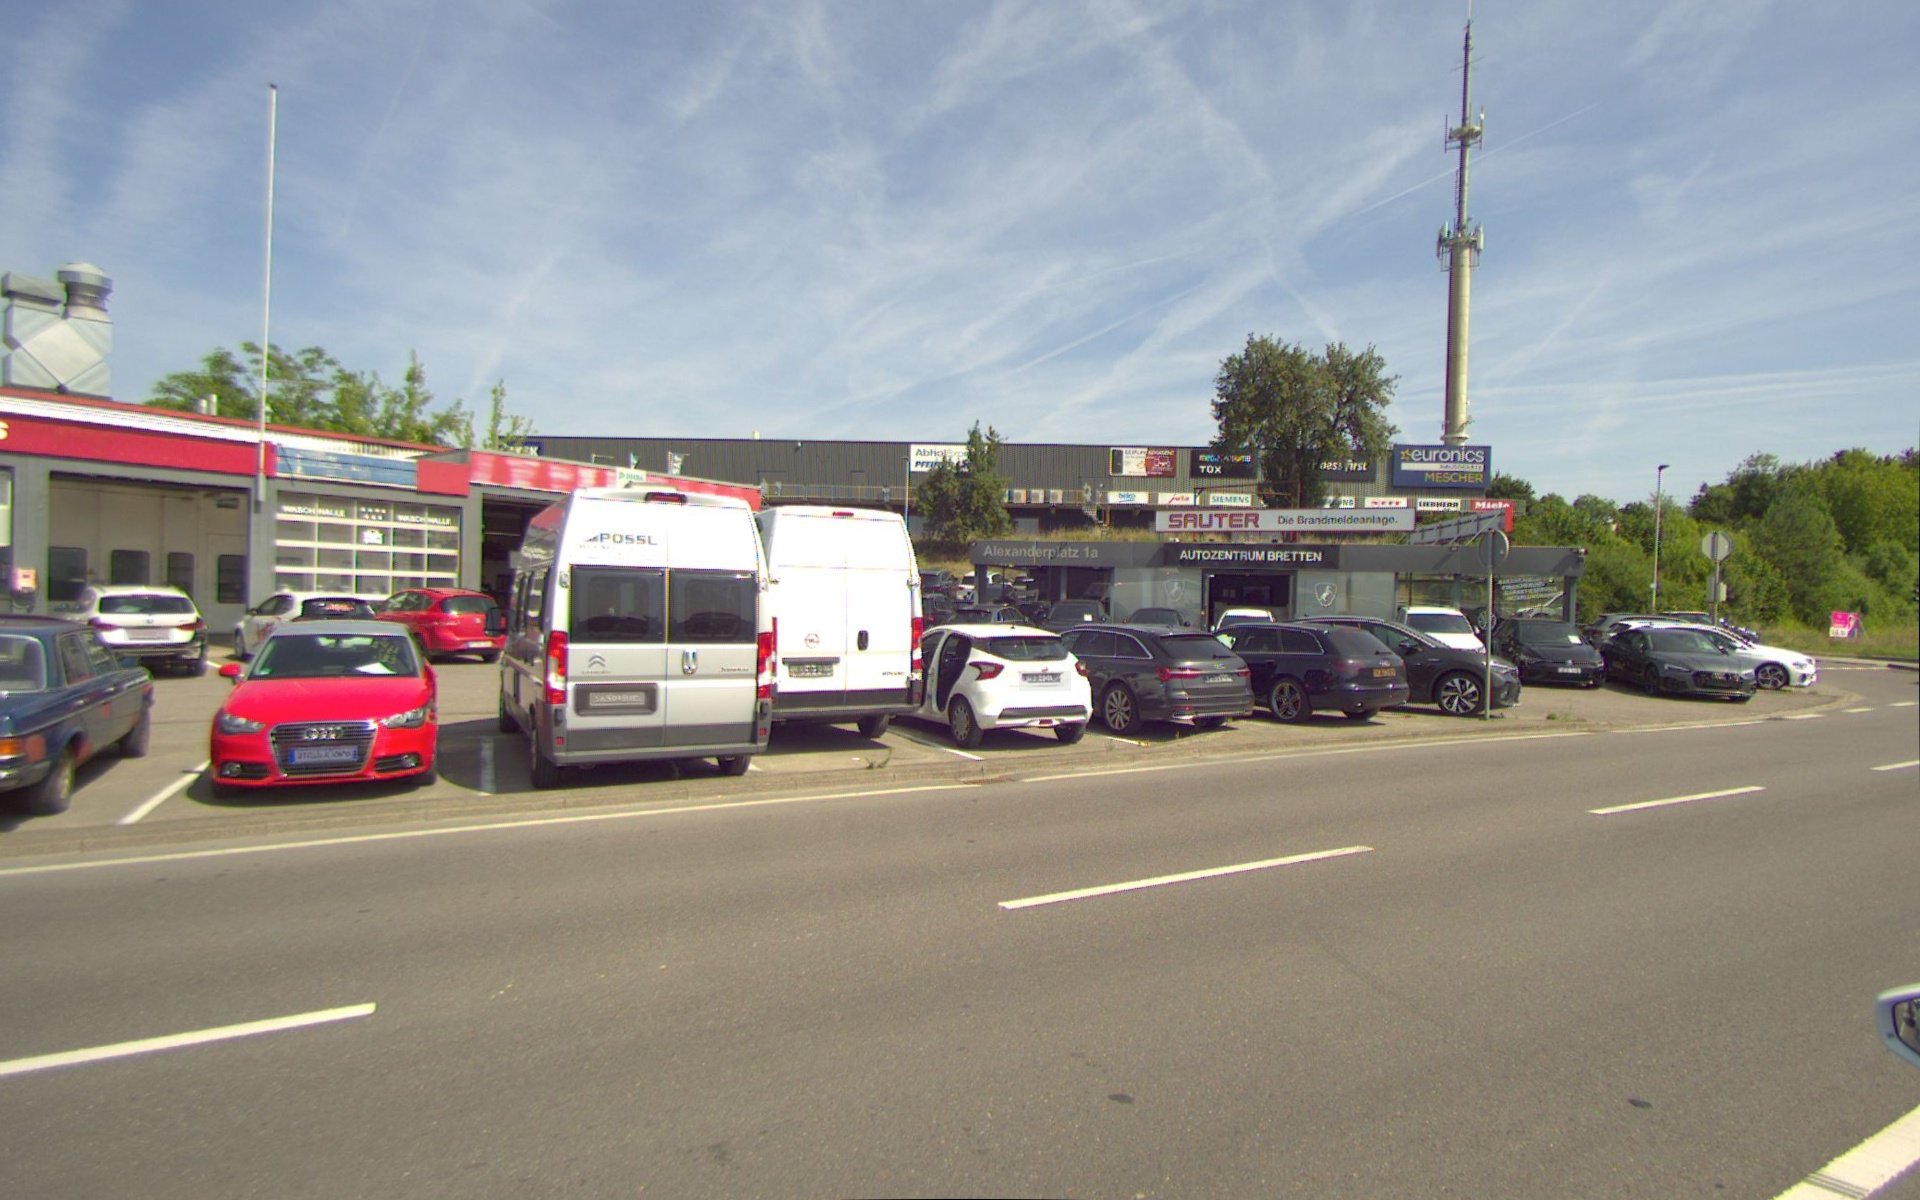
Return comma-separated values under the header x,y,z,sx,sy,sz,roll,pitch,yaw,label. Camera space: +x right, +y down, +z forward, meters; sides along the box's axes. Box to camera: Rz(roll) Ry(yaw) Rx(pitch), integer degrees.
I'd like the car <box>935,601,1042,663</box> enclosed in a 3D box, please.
x,y,z,sx,sy,sz,roll,pitch,yaw,label
0.913,0.853,29.017,1.855,1.544,4.344,2,1,19,car

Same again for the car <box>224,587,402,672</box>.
x,y,z,sx,sy,sz,roll,pitch,yaw,label
-13.219,0.544,20.455,3.882,1.540,1.876,1,0,38,car

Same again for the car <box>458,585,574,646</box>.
x,y,z,sx,sy,sz,roll,pitch,yaw,label
-13.333,0.422,30.073,1.856,1.583,4.048,2,1,-44,car

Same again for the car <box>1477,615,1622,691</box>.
x,y,z,sx,sy,sz,roll,pitch,yaw,label
14.155,1.195,24.408,1.762,1.507,4.346,2,1,13,car

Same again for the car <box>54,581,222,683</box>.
x,y,z,sx,sy,sz,roll,pitch,yaw,label
-14.921,0.513,18.163,1.976,1.628,3.946,1,0,-45,car

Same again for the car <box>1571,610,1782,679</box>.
x,y,z,sx,sy,sz,roll,pitch,yaw,label
21.308,1.282,30.133,4.702,1.647,1.932,4,1,19,car

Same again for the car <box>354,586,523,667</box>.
x,y,z,sx,sy,sz,roll,pitch,yaw,label
-11.714,0.544,22.483,3.937,1.639,1.910,1,0,38,car

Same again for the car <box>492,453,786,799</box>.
x,y,z,sx,sy,sz,roll,pitch,yaw,label
-3.845,0.250,11.137,2.150,2.809,5.544,1,-1,-28,car

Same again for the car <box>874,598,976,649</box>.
x,y,z,sx,sy,sz,roll,pitch,yaw,label
-0.972,0.693,30.454,1.741,1.429,4.104,1,-1,19,car

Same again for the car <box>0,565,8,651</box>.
x,y,z,sx,sy,sz,roll,pitch,yaw,label
-20.783,0.116,18.683,4.439,1.676,1.851,1,0,-44,car

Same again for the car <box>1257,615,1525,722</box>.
x,y,z,sx,sy,sz,roll,pitch,yaw,label
7.633,1.124,17.866,4.112,1.644,2.025,0,-1,33,car

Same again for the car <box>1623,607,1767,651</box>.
x,y,z,sx,sy,sz,roll,pitch,yaw,label
31.630,1.219,43.357,4.543,1.548,1.916,4,2,16,car

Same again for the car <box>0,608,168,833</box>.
x,y,z,sx,sy,sz,roll,pitch,yaw,label
-8.163,0.821,8.258,1.850,1.487,4.230,1,-1,-28,car

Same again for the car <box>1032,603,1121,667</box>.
x,y,z,sx,sy,sz,roll,pitch,yaw,label
3.345,0.918,28.258,1.774,1.544,4.099,2,1,16,car

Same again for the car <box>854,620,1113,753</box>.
x,y,z,sx,sy,sz,roll,pitch,yaw,label
0.154,1.050,13.775,1.858,1.489,3.971,1,-1,-28,car

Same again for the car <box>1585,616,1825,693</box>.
x,y,z,sx,sy,sz,roll,pitch,yaw,label
18.970,1.326,25.891,4.629,1.495,1.890,4,2,27,car

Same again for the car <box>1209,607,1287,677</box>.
x,y,z,sx,sy,sz,roll,pitch,yaw,label
7.532,1.023,26.264,1.791,1.544,4.144,2,1,16,car

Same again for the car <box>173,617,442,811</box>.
x,y,z,sx,sy,sz,roll,pitch,yaw,label
-6.125,0.920,9.852,1.805,1.450,3.923,1,-1,-28,car

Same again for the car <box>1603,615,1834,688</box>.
x,y,z,sx,sy,sz,roll,pitch,yaw,label
20.795,1.371,27.797,4.623,1.533,1.955,4,2,20,car

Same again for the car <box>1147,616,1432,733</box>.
x,y,z,sx,sy,sz,roll,pitch,yaw,label
5.065,1.066,15.977,2.007,1.550,4.015,1,-1,-30,car

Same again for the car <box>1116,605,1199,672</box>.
x,y,z,sx,sy,sz,roll,pitch,yaw,label
5.430,0.964,27.286,1.779,1.544,4.345,2,1,16,car

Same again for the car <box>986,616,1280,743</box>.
x,y,z,sx,sy,sz,roll,pitch,yaw,label
2.380,1.048,14.970,2.006,1.550,4.345,1,-1,-31,car

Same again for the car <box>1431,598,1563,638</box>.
x,y,z,sx,sy,sz,roll,pitch,yaw,label
24.194,0.809,45.425,4.874,1.437,1.950,4,0,16,car

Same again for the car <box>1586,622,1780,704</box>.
x,y,z,sx,sy,sz,roll,pitch,yaw,label
16.330,1.341,23.027,1.934,1.455,4.643,2,1,13,car

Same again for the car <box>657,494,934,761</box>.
x,y,z,sx,sy,sz,roll,pitch,yaw,label
-2.545,0.318,13.837,2.089,2.876,5.686,0,0,-28,car

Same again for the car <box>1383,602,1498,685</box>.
x,y,z,sx,sy,sz,roll,pitch,yaw,label
11.935,0.998,25.218,1.855,1.772,4.470,2,1,16,car
